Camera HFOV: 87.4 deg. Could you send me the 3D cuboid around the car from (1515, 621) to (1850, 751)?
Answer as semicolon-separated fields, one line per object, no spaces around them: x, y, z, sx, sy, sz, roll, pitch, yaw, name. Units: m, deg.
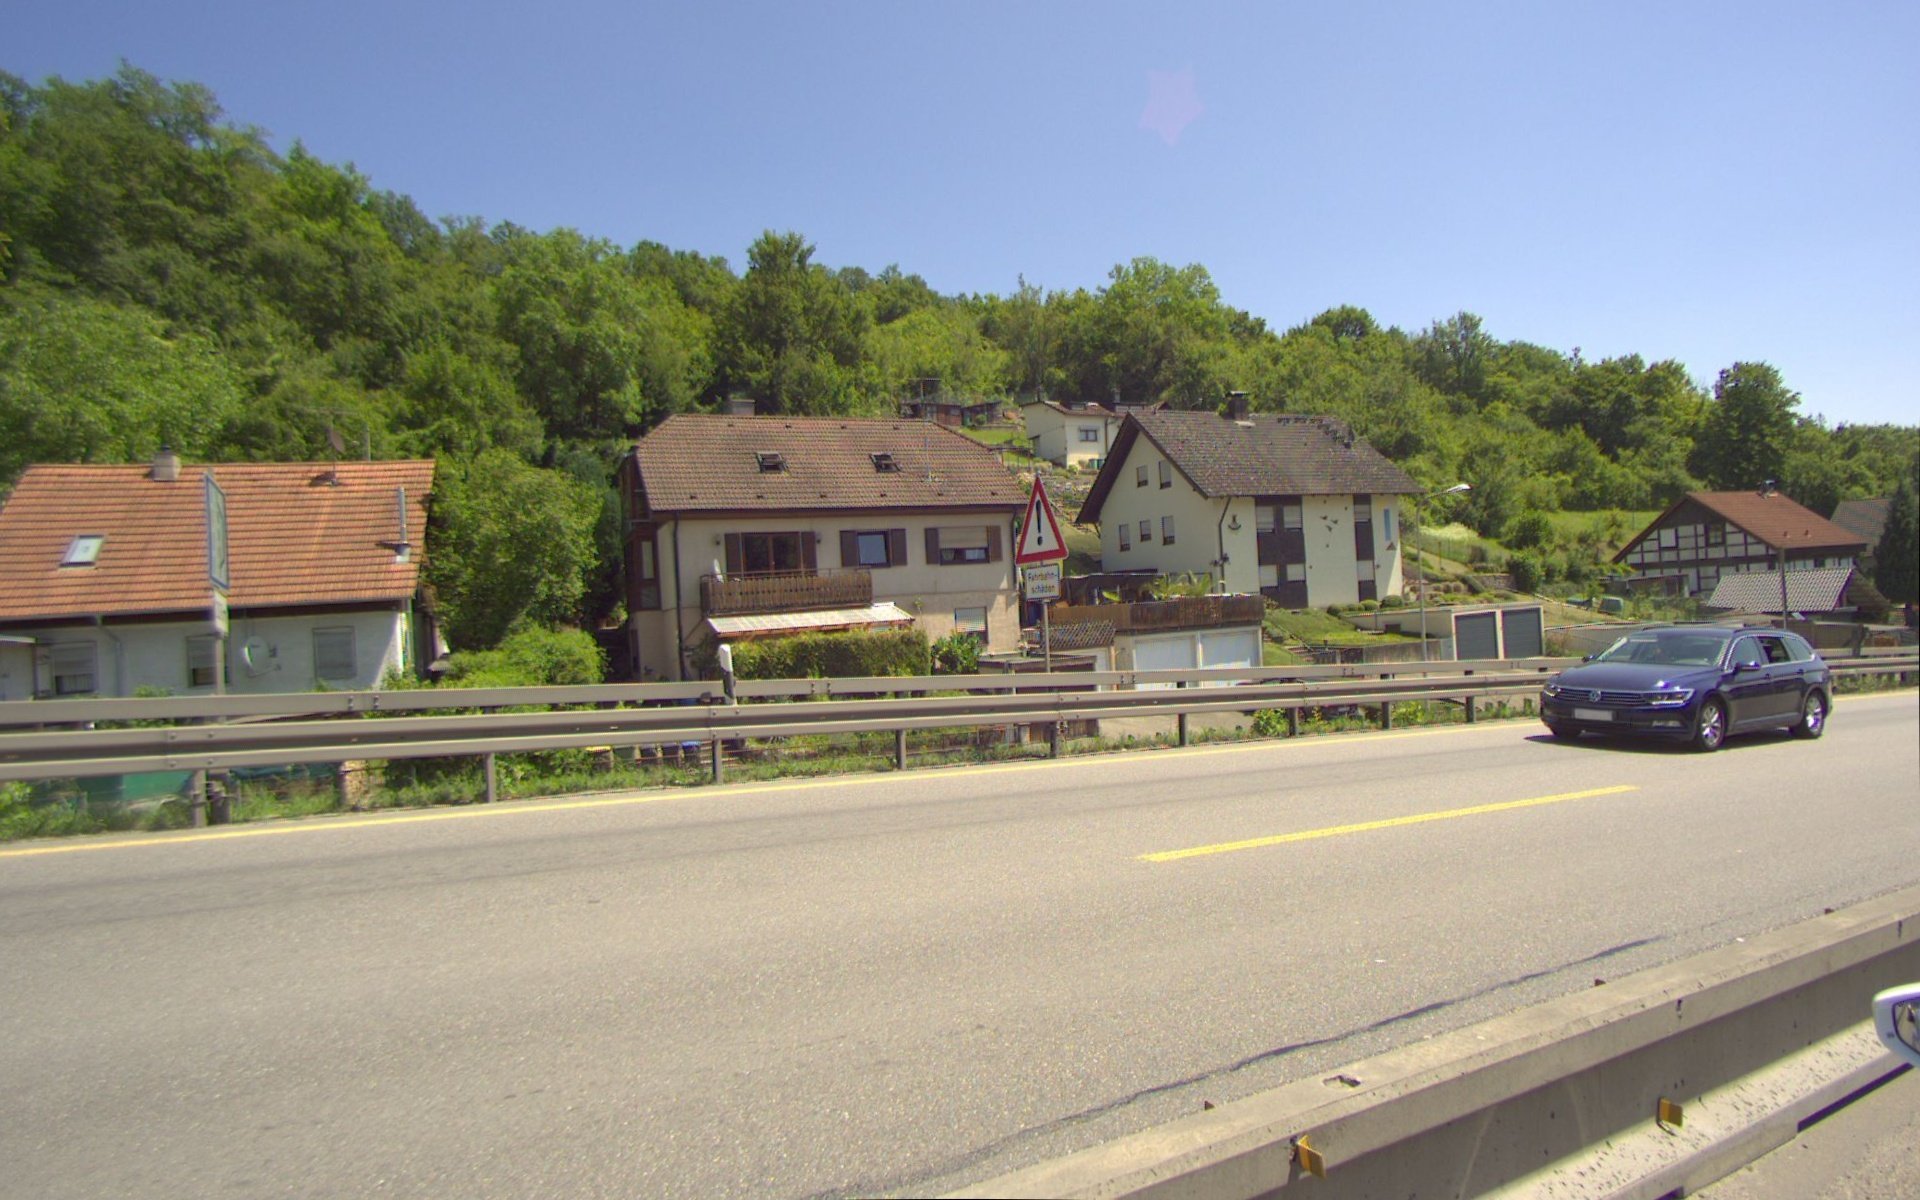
9.492;1.037;13.115;4.631;1.436;1.833;2;-2;-30;car
